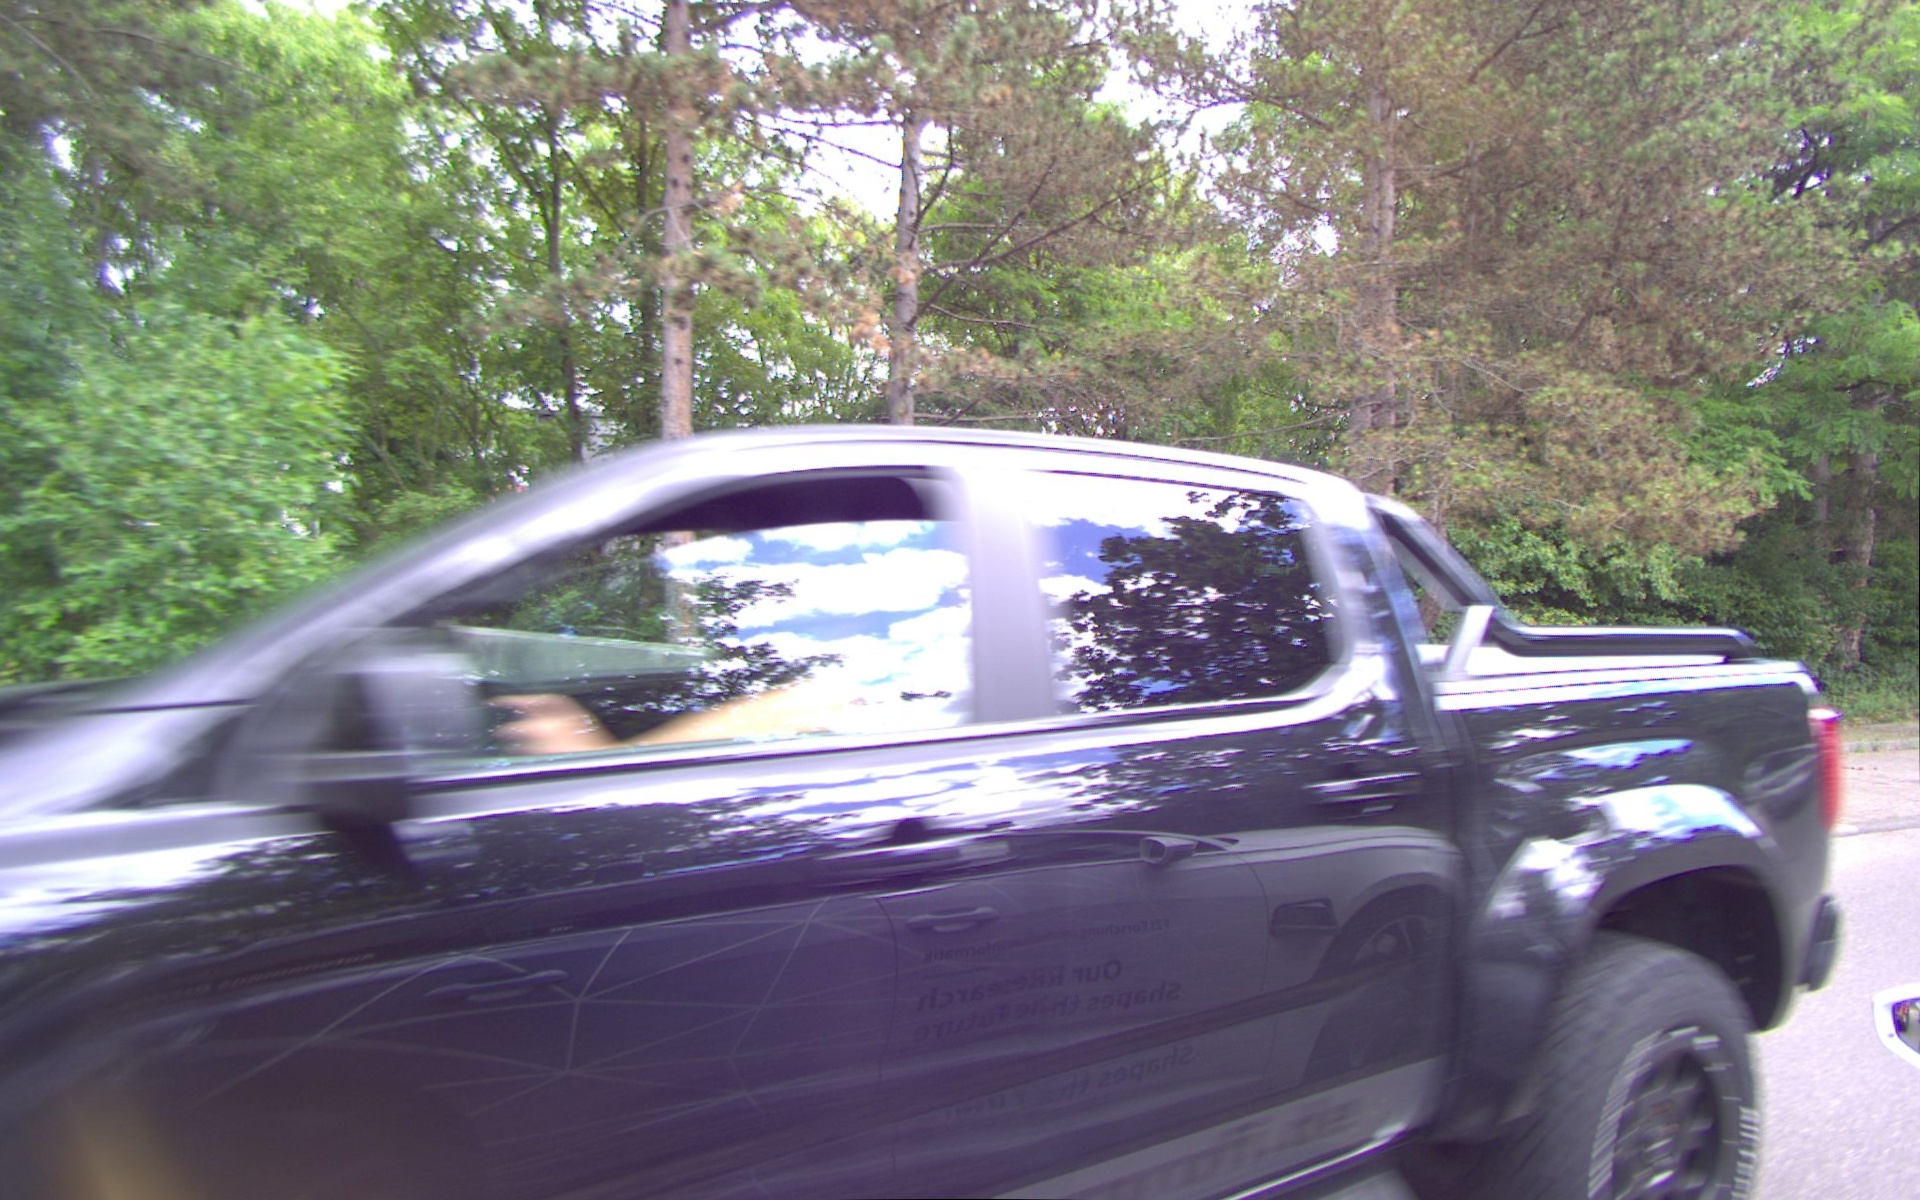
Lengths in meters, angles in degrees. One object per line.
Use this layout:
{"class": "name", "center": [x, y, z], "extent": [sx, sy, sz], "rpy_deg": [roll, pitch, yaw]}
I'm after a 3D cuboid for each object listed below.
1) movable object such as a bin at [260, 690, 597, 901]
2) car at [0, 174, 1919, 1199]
{"class": "movable object such as a bin", "center": [-2.698, 0.932, 5.169], "extent": [1.126, 0.770, 1.048], "rpy_deg": [4, 0, 26]}
{"class": "car", "center": [-0.092, 0.584, 2.295], "extent": [5.270, 1.758, 1.986], "rpy_deg": [2, -1, -28]}
